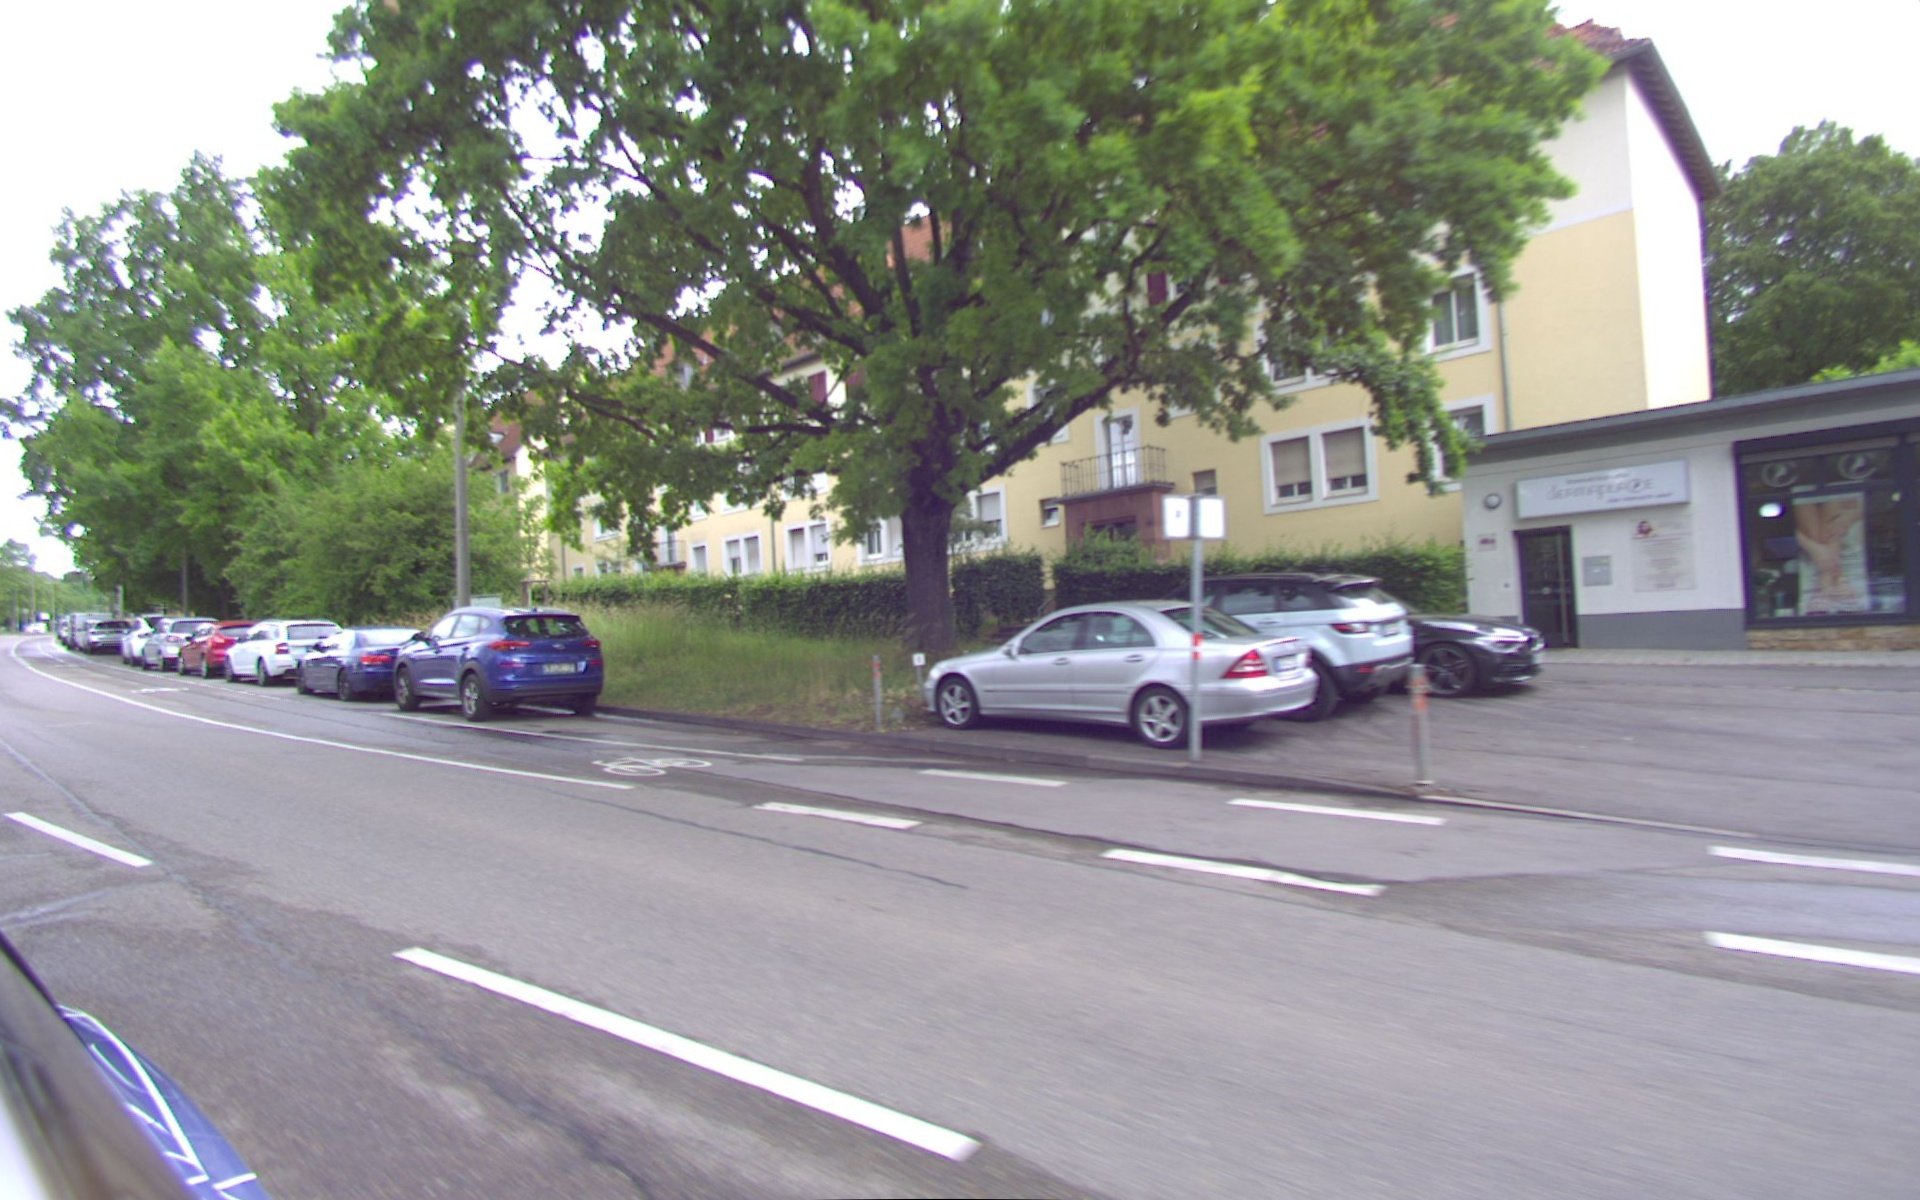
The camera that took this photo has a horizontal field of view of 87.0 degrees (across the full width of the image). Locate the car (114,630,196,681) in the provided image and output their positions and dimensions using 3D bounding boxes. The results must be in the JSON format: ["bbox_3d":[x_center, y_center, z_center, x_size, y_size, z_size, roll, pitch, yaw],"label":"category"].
[{"bbox_3d":[-27.745,1.853,34.824,1.746,1.585,4.763,1,-1,-44],"label":"car"}]

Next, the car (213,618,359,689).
[{"bbox_3d":[-15.886,1.188,23.756,4.755,1.470,1.697,-1,0,42],"label":"car"}]

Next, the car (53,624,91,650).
[{"bbox_3d":[-56.512,2.350,64.404,1.653,1.576,4.285,0,-1,-43],"label":"car"}]

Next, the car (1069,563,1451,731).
[{"bbox_3d":[3.474,0.497,12.172,4.000,1.645,1.743,-2,2,43],"label":"car"}]

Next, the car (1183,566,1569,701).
[{"bbox_3d":[5.431,0.414,13.575,4.437,1.481,1.744,-2,2,41],"label":"car"}]

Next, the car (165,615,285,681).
[{"bbox_3d":[-19.850,1.246,27.274,4.369,1.585,1.697,-1,0,42],"label":"car"}]

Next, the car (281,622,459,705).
[{"bbox_3d":[-11.449,1.159,19.521,4.336,1.400,1.697,-2,-1,42],"label":"car"}]

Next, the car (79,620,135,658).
[{"bbox_3d":[-39.349,1.776,46.637,1.745,1.646,4.162,0,-1,-43],"label":"car"}]

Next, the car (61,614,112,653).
[{"bbox_3d":[-46.783,1.765,54.156,1.844,1.978,5.131,0,-1,-44],"label":"car"}]

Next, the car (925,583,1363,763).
[{"bbox_3d":[1.801,0.676,10.943,4.391,1.547,1.742,-2,0,43],"label":"car"}]

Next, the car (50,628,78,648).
[{"bbox_3d":[-76.182,3.218,85.994,1.746,1.604,4.139,0,-2,-42],"label":"car"}]

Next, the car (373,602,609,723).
[{"bbox_3d":[-7.506,0.955,15.981,4.533,1.625,1.697,-3,-1,42],"label":"car"}]

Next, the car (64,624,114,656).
[{"bbox_3d":[-42.954,1.942,49.897,3.721,1.493,1.563,-2,-1,45],"label":"car"}]

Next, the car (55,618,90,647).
[{"bbox_3d":[-64.182,2.350,73.171,1.747,1.945,5.160,-2,-1,-43],"label":"car"}]

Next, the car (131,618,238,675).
[{"bbox_3d":[-23.660,1.370,30.831,4.118,1.585,1.849,-1,0,42],"label":"car"}]
